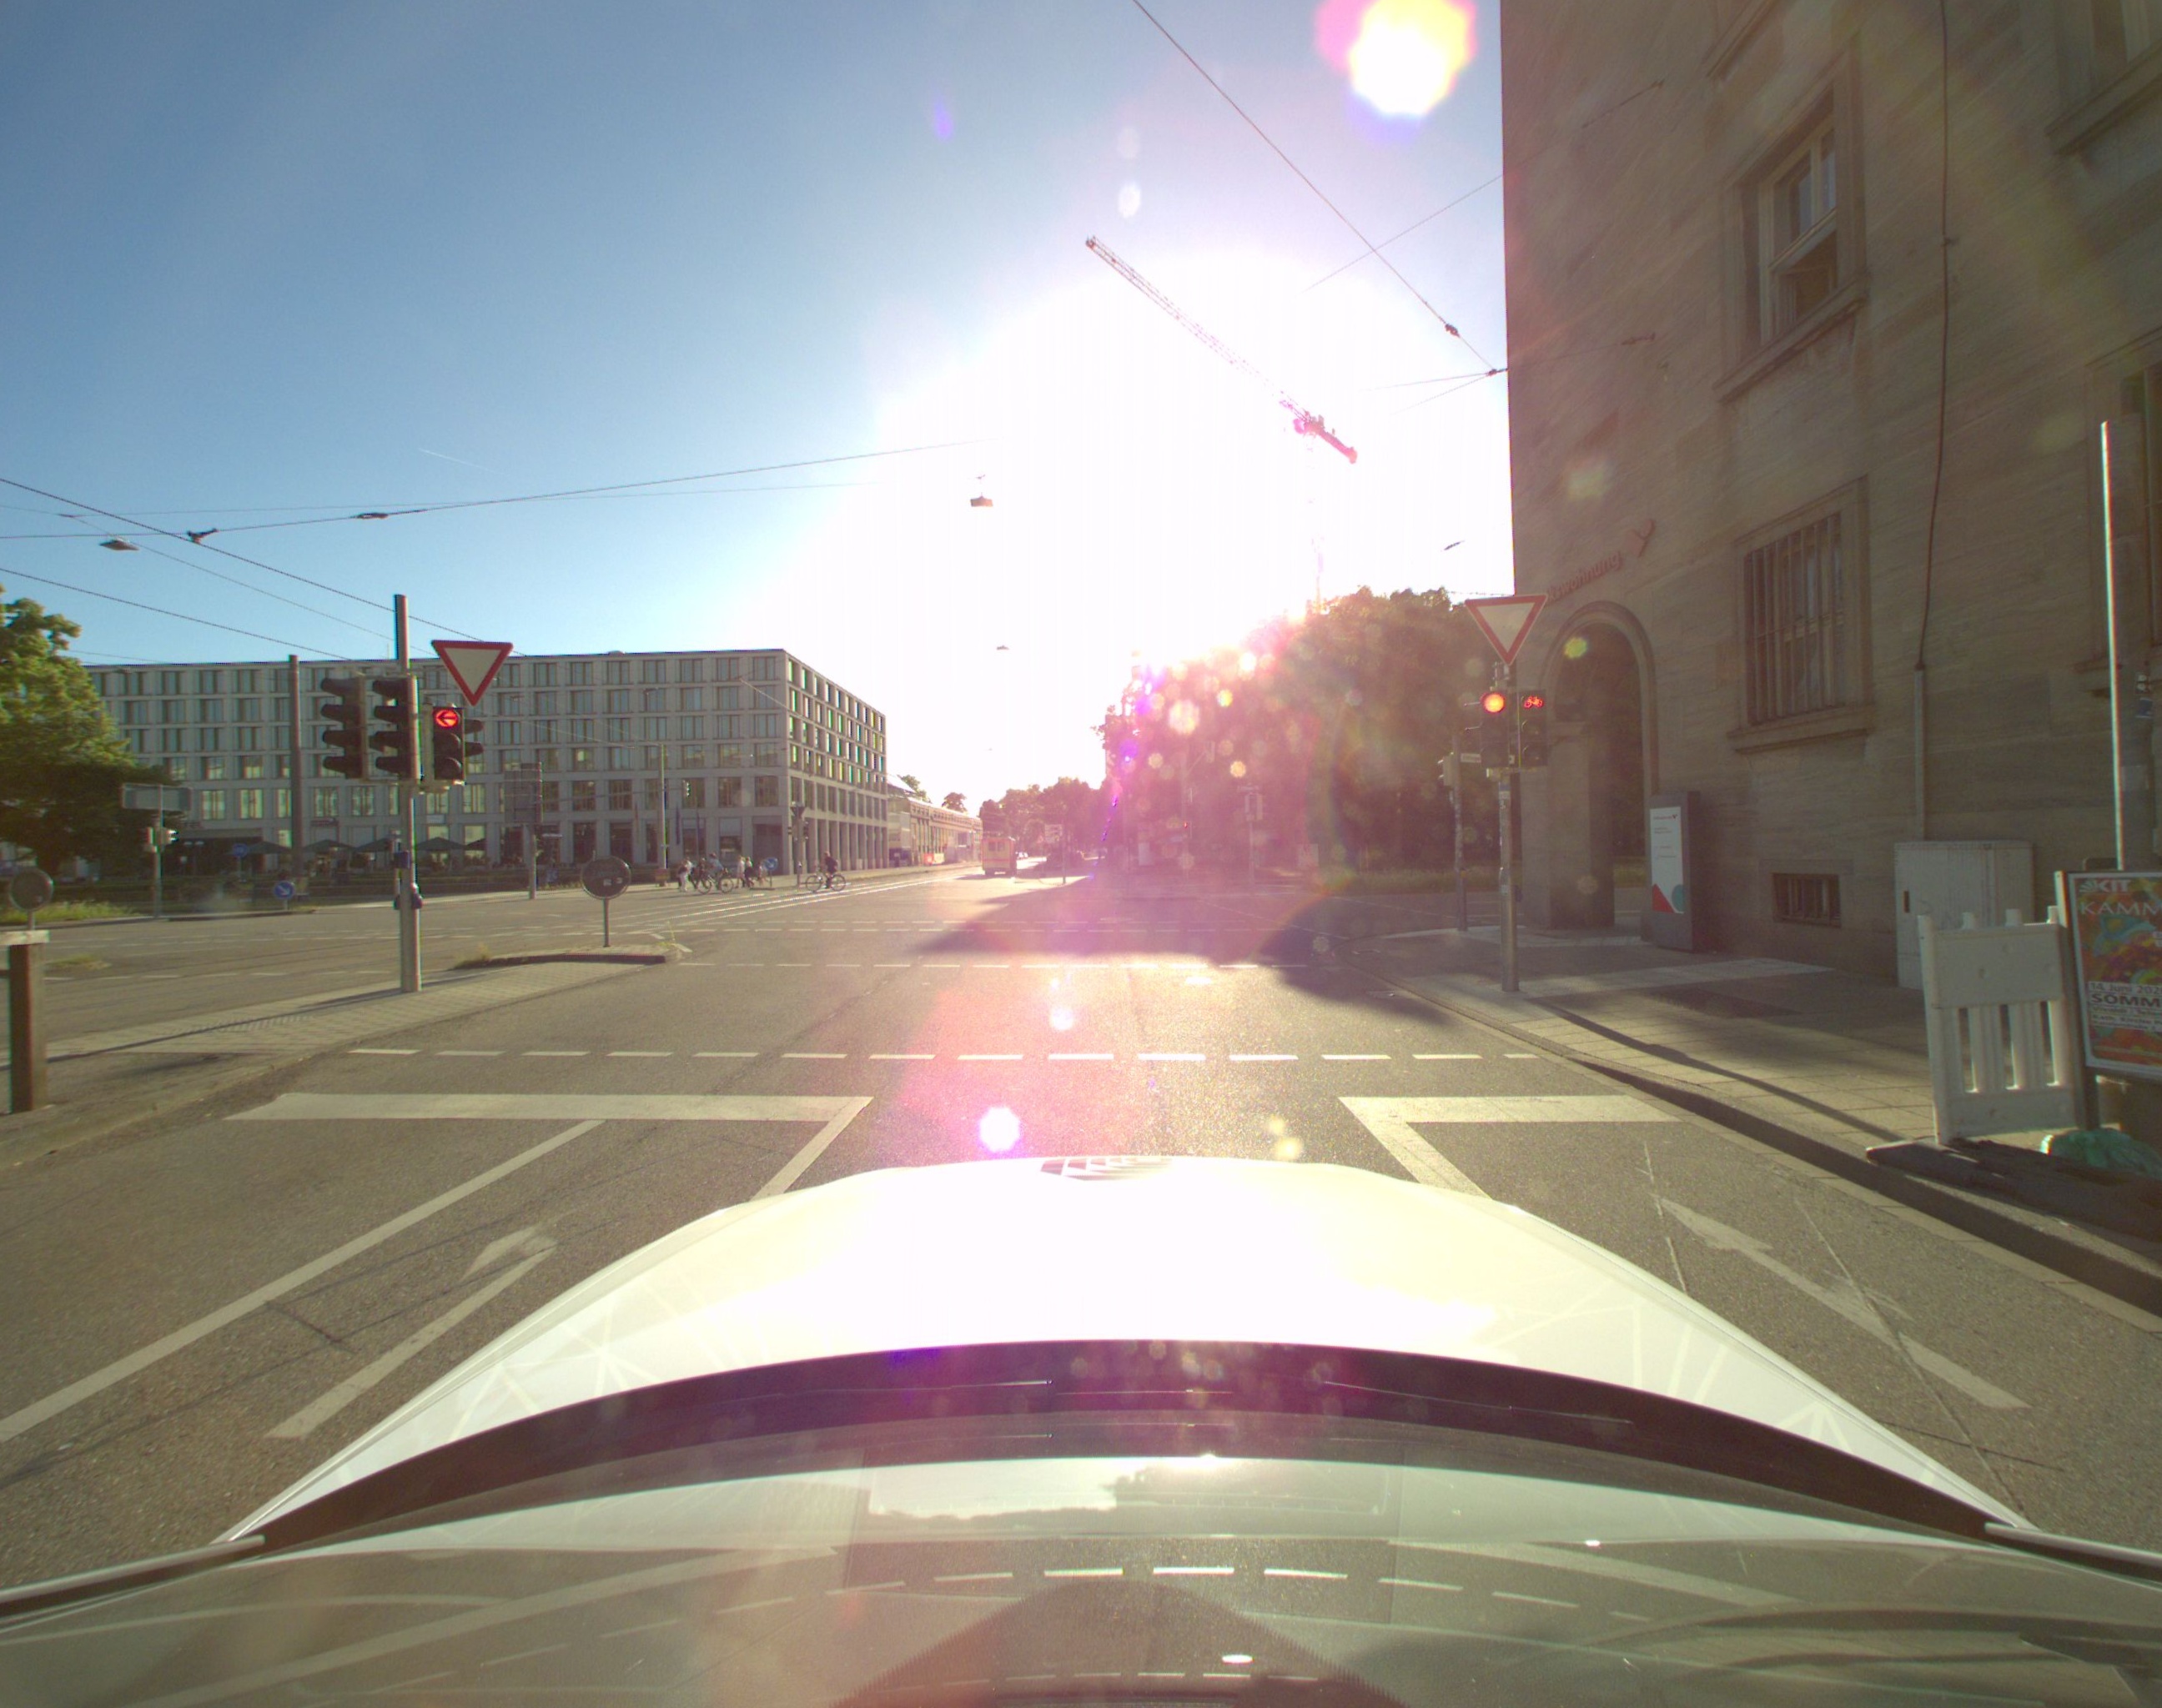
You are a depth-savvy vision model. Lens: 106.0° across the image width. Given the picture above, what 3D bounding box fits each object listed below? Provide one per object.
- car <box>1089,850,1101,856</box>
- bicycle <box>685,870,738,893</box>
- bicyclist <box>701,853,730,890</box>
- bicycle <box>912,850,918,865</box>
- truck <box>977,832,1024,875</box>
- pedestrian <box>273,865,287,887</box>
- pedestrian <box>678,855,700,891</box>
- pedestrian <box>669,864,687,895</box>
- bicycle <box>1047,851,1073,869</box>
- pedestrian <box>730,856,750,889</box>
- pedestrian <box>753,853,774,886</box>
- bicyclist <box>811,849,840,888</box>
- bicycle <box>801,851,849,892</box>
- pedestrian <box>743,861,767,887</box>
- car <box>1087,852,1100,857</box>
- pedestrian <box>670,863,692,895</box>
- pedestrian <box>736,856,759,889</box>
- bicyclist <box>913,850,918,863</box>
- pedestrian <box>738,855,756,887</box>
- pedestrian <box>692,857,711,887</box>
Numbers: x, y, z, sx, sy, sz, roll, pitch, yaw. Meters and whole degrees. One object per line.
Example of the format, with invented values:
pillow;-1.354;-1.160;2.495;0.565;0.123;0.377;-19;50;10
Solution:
car;3.659;-0.162;213.637;3.207;1.588;1.445;0;-1;-3
bicycle;-16.283;1.210;35.941;2.057;0.933;0.575;-2;0;1
bicyclist;-16.131;0.770;35.919;0.971;1.560;0.575;-2;0;1
bicycle;-26.671;0.565;131.098;0.569;2.296;1.422;-2;0;0
truck;-5.956;-0.056;61.327;2.707;3.016;6.490;-1;0;1
pedestrian;-60.839;1.663;61.865;0.538;1.669;0.561;0;-1;-2
pedestrian;-21.019;1.004;43.715;0.797;1.918;0.638;-2;0;7
pedestrian;-22.028;1.390;44.515;0.694;1.644;0.619;-2;0;-11
bicycle;-2.088;0.573;81.613;2.538;1.743;1.038;0;-1;1
pedestrian;-19.008;1.001;45.427;0.735;1.803;0.717;-2;0;7
pedestrian;-17.667;0.863;45.290;0.865;1.803;0.533;-2;0;7
bicyclist;-11.191;0.631;35.757;1.073;1.641;0.596;-2;0;-7
bicycle;-11.213;0.746;35.750;1.895;1.735;0.595;-2;0;-7
pedestrian;-17.064;1.027;42.635;0.993;1.317;0.765;-2;0;-7
car;3.219;0.045;211.391;3.207;1.263;1.373;0;-1;0
pedestrian;-20.904;1.320;42.580;0.790;1.644;0.621;-2;0;-3
pedestrian;-18.187;0.998;44.396;0.865;1.803;0.665;-2;0;7
bicyclist;-26.668;0.447;131.103;0.569;2.024;0.762;-2;0;0
pedestrian;-19.107;0.989;46.558;0.735;1.803;0.533;-2;0;7
pedestrian;-21.410;1.018;45.973;0.690;1.644;0.623;-2;0;8
